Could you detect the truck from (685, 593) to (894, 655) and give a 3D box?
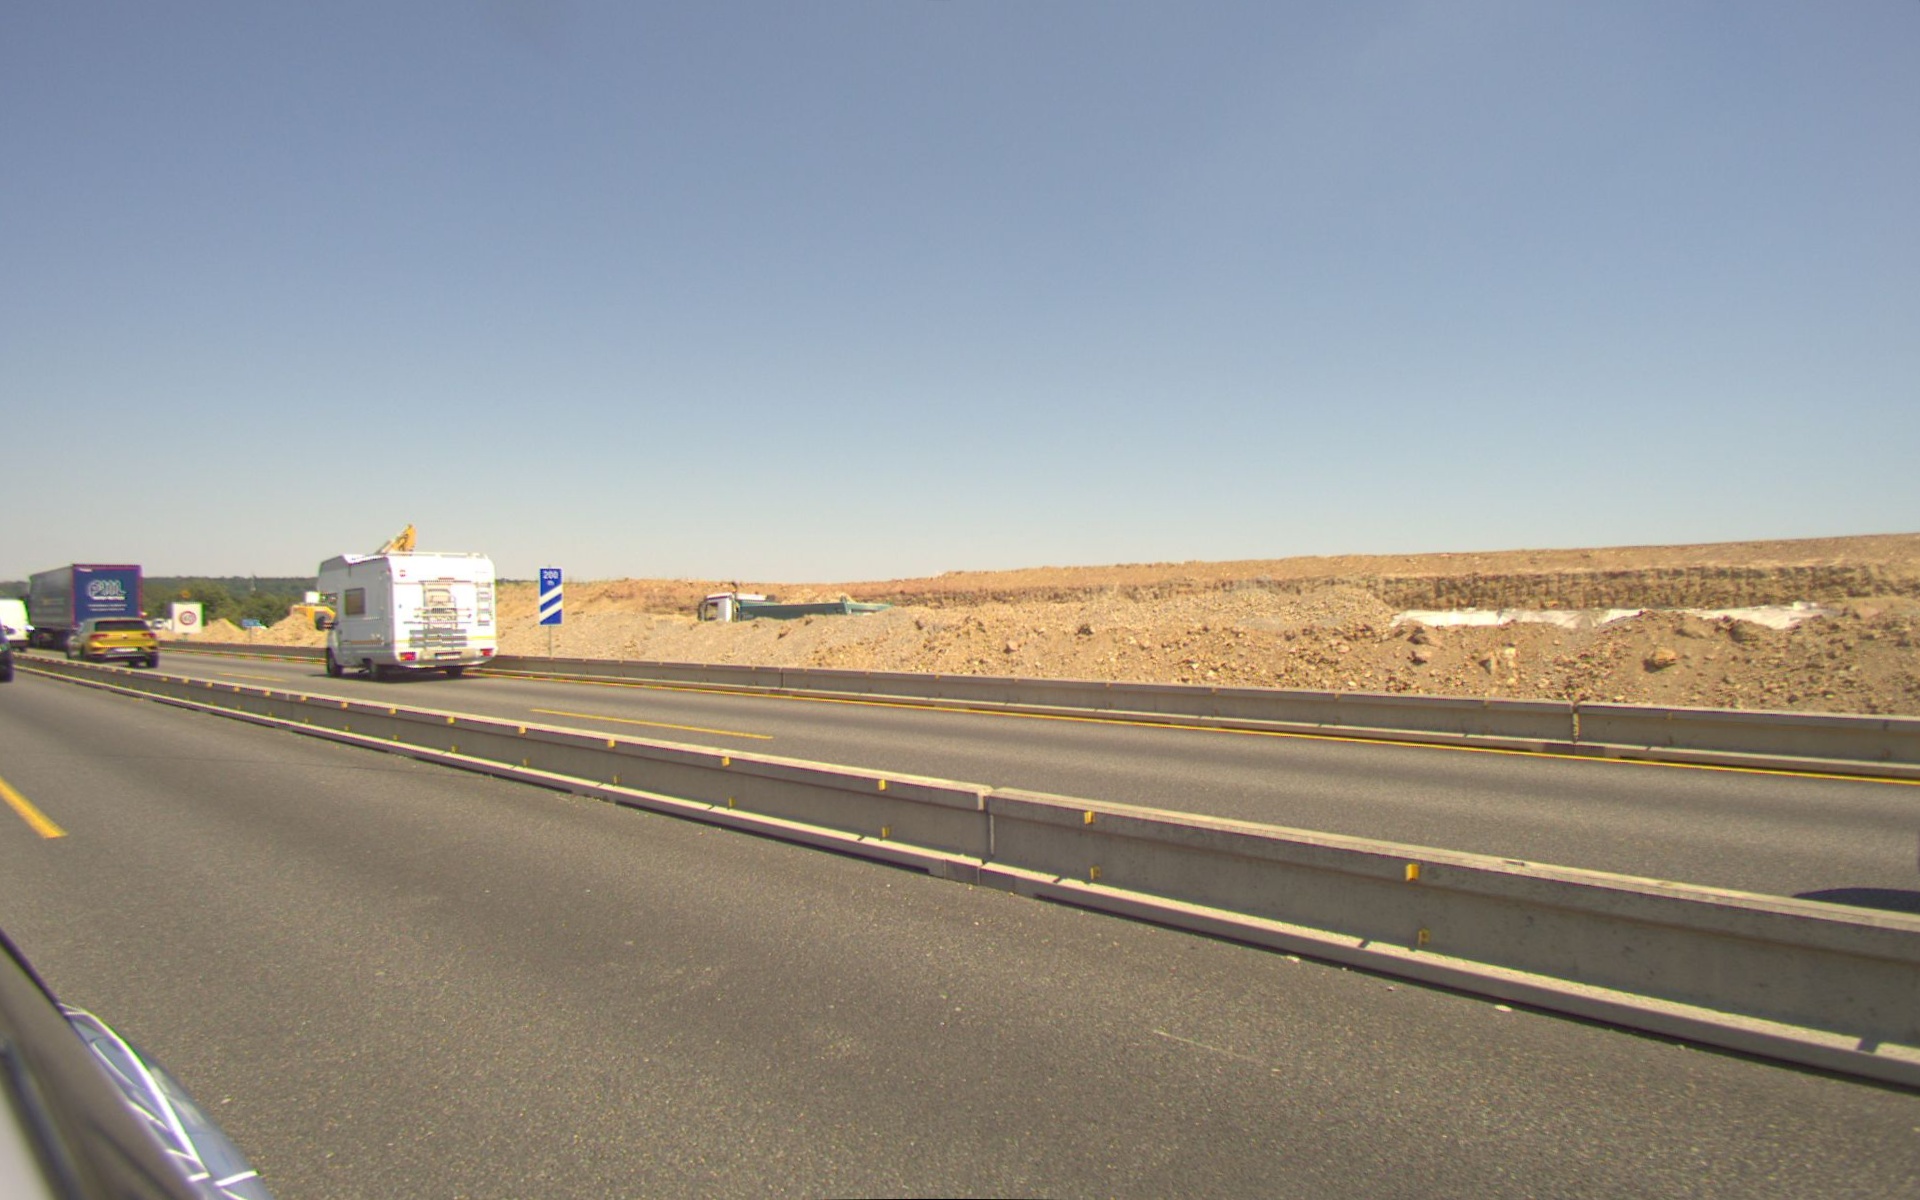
[{"bbox_3d":[-6.521,0.850,37.604,8.796,2.074,2.536,-1,0,40],"label":"truck"}]

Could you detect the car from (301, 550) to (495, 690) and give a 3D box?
[{"bbox_3d":[-13.676,0.446,24.434,5.846,2.978,2.228,-1,0,41],"label":"car"}]

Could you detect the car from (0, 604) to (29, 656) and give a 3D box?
[{"bbox_3d":[-46.308,1.460,48.338,6.192,2.361,2.014,-2,-1,41],"label":"car"}]

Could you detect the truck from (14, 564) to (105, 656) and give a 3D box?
[{"bbox_3d":[-48.740,0.533,54.724,6.241,4.687,2.934,-1,0,41],"label":"truck"}]

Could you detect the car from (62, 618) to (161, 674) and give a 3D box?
[{"bbox_3d":[-26.174,1.381,31.169,4.361,1.586,1.743,-2,-1,42],"label":"car"}]

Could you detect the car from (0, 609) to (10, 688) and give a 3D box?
[{"bbox_3d":[-25.205,1.178,25.108,5.476,1.865,1.854,-1,0,41],"label":"car"}]

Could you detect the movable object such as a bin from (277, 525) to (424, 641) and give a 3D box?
[{"bbox_3d":[-39.903,-1.050,66.434,4.079,7.167,7.284,-1,0,41],"label":"movable object such as a bin"}]

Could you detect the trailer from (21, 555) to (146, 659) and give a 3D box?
[{"bbox_3d":[-43.984,0.363,50.554,12.878,4.631,2.954,-1,0,41],"label":"trailer"}]
